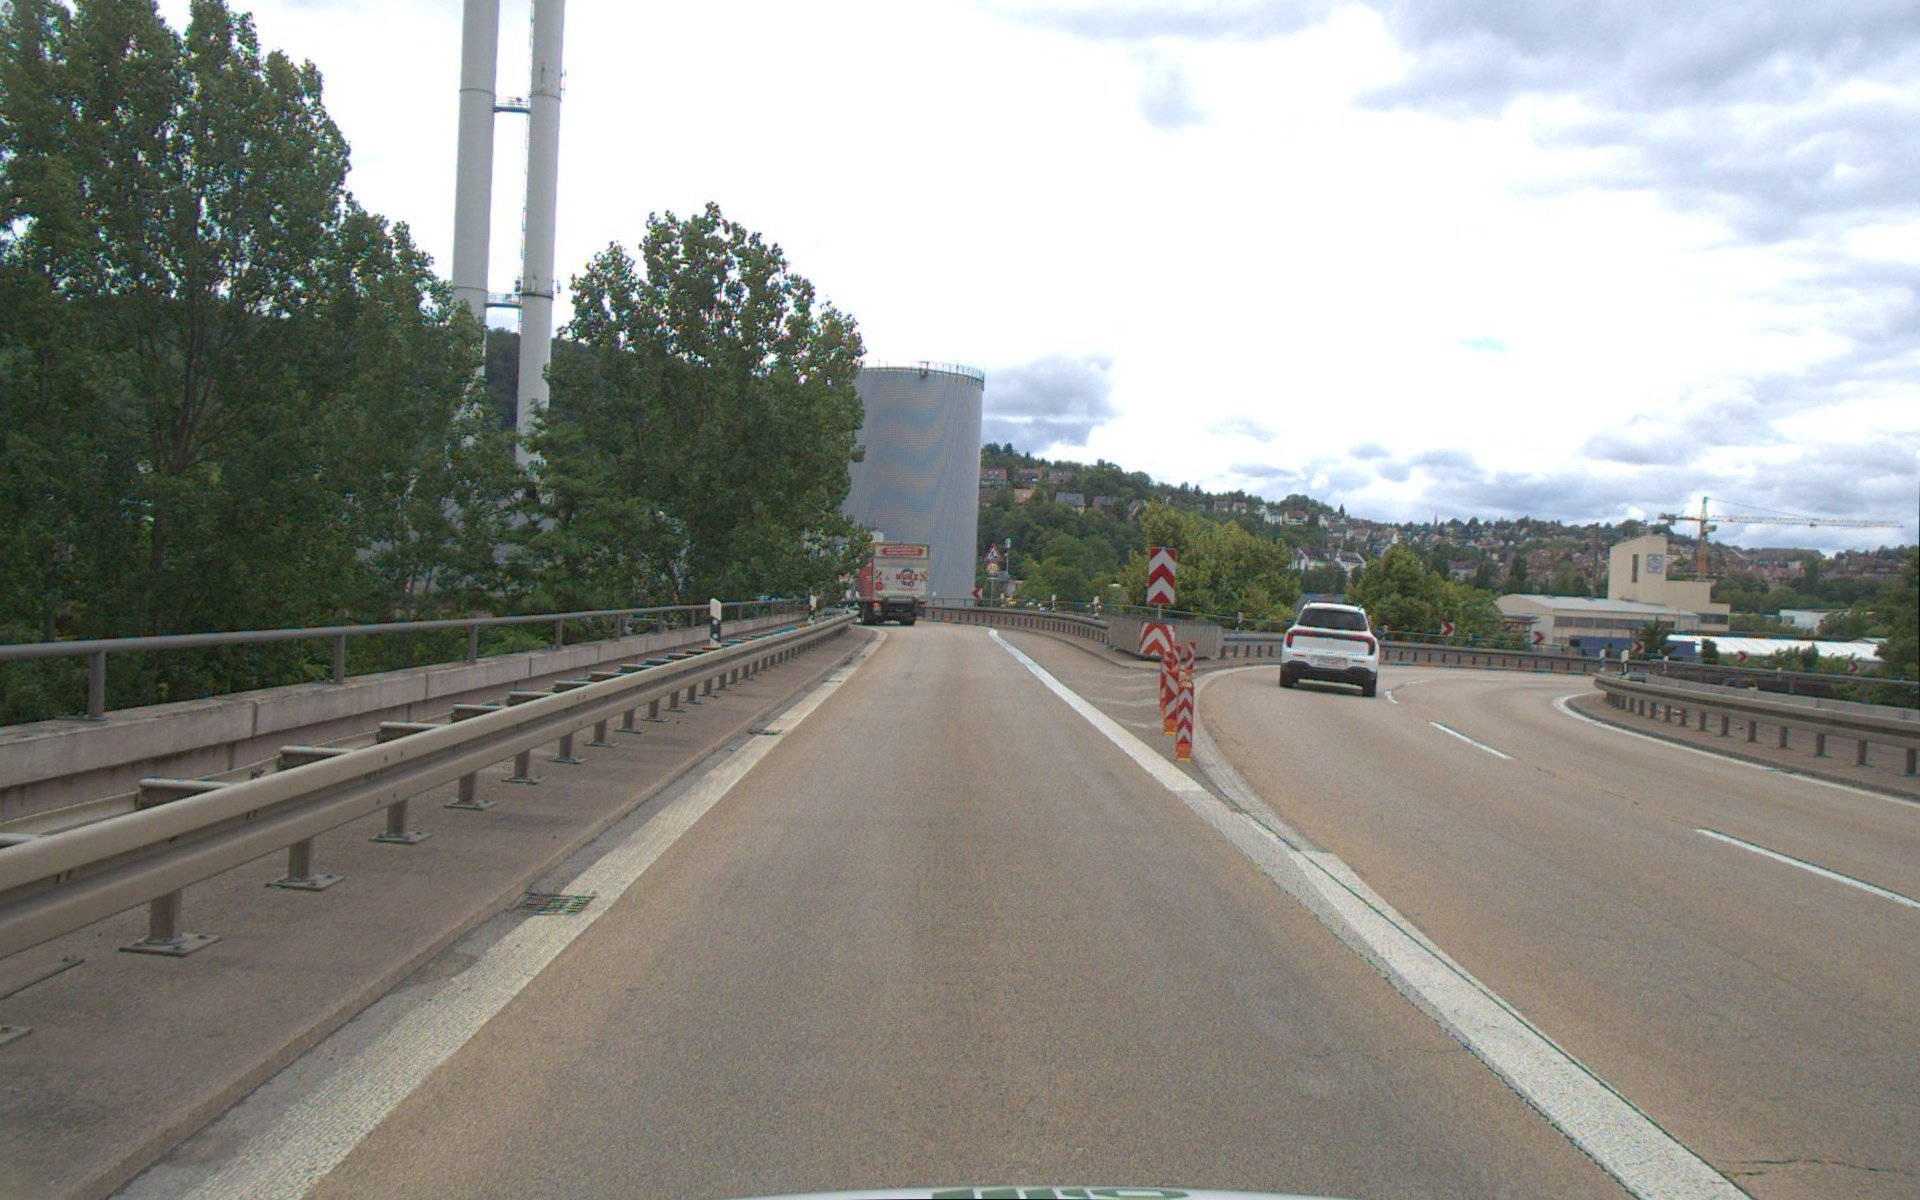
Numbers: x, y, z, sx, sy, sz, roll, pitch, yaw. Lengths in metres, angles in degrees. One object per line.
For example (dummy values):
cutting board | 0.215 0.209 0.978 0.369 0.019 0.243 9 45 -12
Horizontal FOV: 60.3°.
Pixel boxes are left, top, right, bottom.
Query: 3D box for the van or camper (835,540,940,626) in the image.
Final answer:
van or camper | -3.414 -0.729 75.194 3.069 3.642 8.518 1 0 -14

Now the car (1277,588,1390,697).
car | 7.320 0.777 32.731 1.884 1.815 4.116 6 1 11
